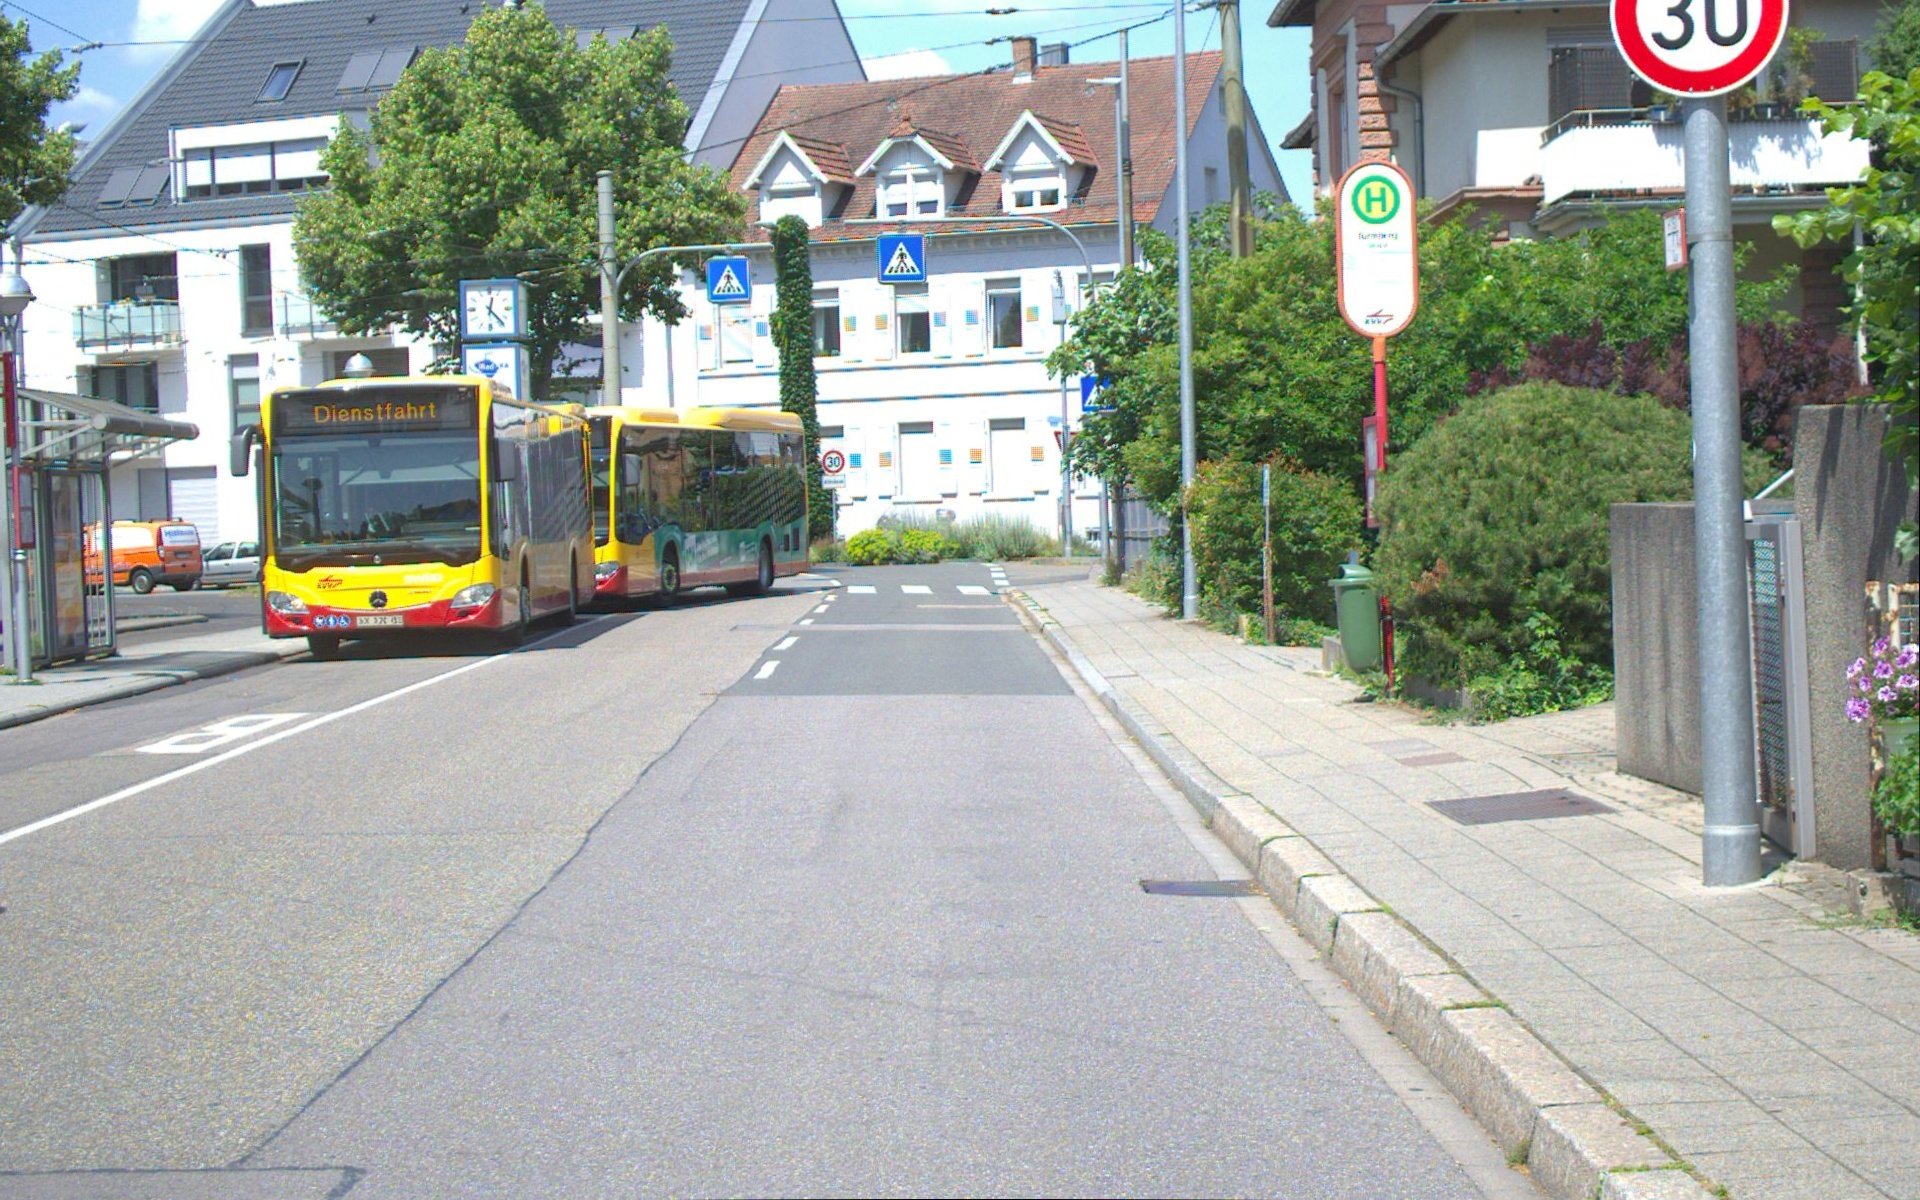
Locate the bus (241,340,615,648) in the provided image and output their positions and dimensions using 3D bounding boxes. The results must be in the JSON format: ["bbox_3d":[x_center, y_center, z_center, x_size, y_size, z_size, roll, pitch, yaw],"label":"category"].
[{"bbox_3d":[-6.233,-1.226,42.402,2.907,3.237,12.119,0,1,-1],"label":"bus"}]

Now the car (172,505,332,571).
[{"bbox_3d":[-19.508,-1.693,94.685,3.992,1.771,1.855,1,0,25],"label":"car"}]

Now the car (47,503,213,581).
[{"bbox_3d":[-22.178,-1.543,91.802,3.993,2.007,1.997,1,0,29],"label":"car"}]

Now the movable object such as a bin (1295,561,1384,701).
[{"bbox_3d":[2.563,0.205,23.243,0.406,0.904,0.729,-5,0,-4],"label":"movable object such as a bin"}]

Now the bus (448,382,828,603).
[{"bbox_3d":[-4.915,-1.789,55.897,2.781,3.197,12.301,1,2,11],"label":"bus"}]
